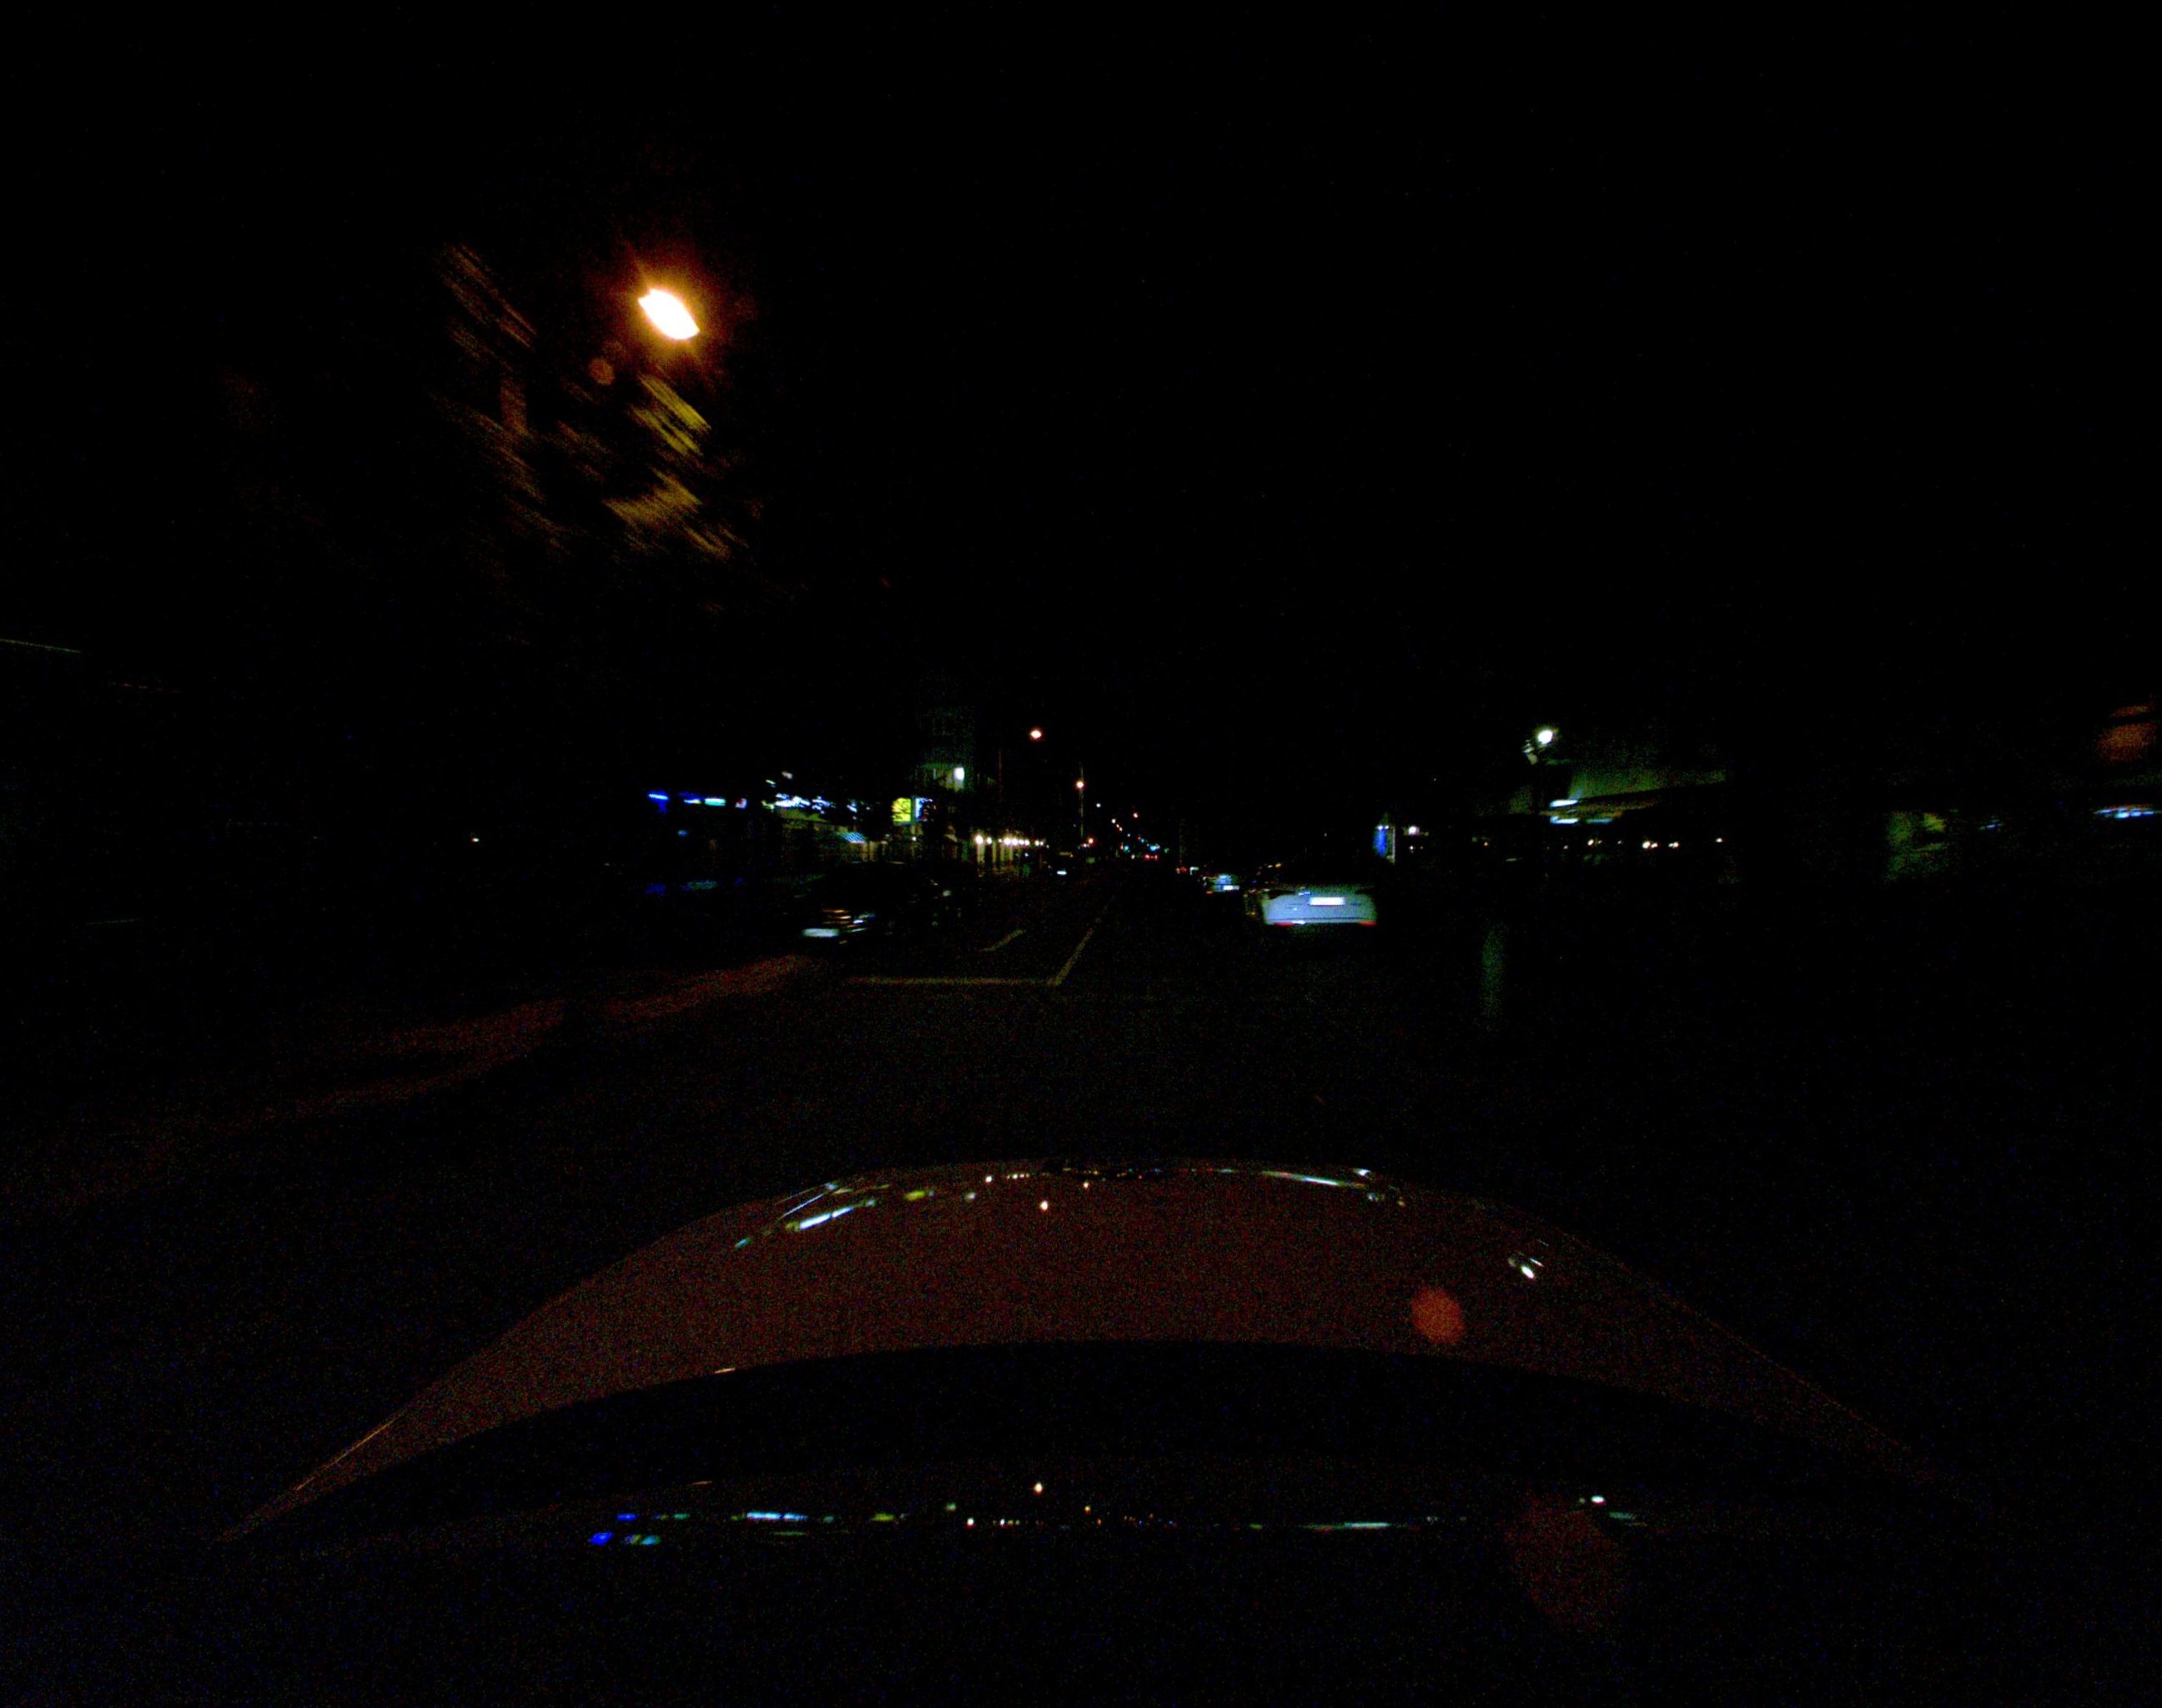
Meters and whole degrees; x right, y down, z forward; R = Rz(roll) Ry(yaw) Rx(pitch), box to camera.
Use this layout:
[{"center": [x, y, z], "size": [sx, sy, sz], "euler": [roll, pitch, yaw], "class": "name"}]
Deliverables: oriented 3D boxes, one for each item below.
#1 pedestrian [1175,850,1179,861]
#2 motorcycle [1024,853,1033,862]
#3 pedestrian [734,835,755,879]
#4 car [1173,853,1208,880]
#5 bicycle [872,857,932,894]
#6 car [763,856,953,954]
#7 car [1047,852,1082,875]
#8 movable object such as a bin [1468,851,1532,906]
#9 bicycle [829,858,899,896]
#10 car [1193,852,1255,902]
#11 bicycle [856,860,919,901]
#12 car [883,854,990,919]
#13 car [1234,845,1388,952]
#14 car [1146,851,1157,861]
[{"center": [15.894, 0.292, 135.020], "size": [0.699, 1.818, 1.083], "euler": [-1, 0, 5], "class": "pedestrian"}, {"center": [-5.783, 0.354, 89.848], "size": [0.474, 1.020, 1.682], "euler": [0, 0, 15], "class": "motorcycle"}, {"center": [-12.648, 0.118, 30.615], "size": [0.476, 1.636, 0.633], "euler": [0, 0, 5], "class": "pedestrian"}, {"center": [6.204, 0.664, 46.549], "size": [1.756, 1.414, 4.814], "euler": [-1, 0, 5], "class": "car"}, {"center": [-5.852, 0.697, 26.653], "size": [1.843, 1.166, 0.533], "euler": [0, 0, 3], "class": "bicycle"}, {"center": [-3.875, 0.807, 15.188], "size": [1.798, 1.425, 4.927], "euler": [2, 0, 4], "class": "car"}, {"center": [-1.024, 0.567, 53.025], "size": [1.733, 1.413, 4.501], "euler": [1, 0, 5], "class": "car"}, {"center": [10.765, 0.603, 20.953], "size": [1.156, 1.371, 0.994], "euler": [1, 0, 2], "class": "movable object such as a bin"}, {"center": [-6.246, 0.654, 23.442], "size": [1.843, 1.000, 0.533], "euler": [2, 0, 3], "class": "bicycle"}, {"center": [4.818, 0.713, 27.900], "size": [1.682, 1.537, 4.021], "euler": [-2, 0, 5], "class": "car"}, {"center": [-6.053, 0.817, 25.549], "size": [1.843, 1.254, 0.533], "euler": [0, 0, 3], "class": "bicycle"}, {"center": [-3.583, 0.752, 20.956], "size": [1.714, 1.428, 3.981], "euler": [2, 0, 4], "class": "car"}, {"center": [3.810, 0.661, 14.198], "size": [1.762, 1.537, 4.222], "euler": [-2, 0, 5], "class": "car"}, {"center": [12.433, 0.317, 143.845], "size": [1.985, 1.643, 4.004], "euler": [-1, 0, 4], "class": "car"}]
